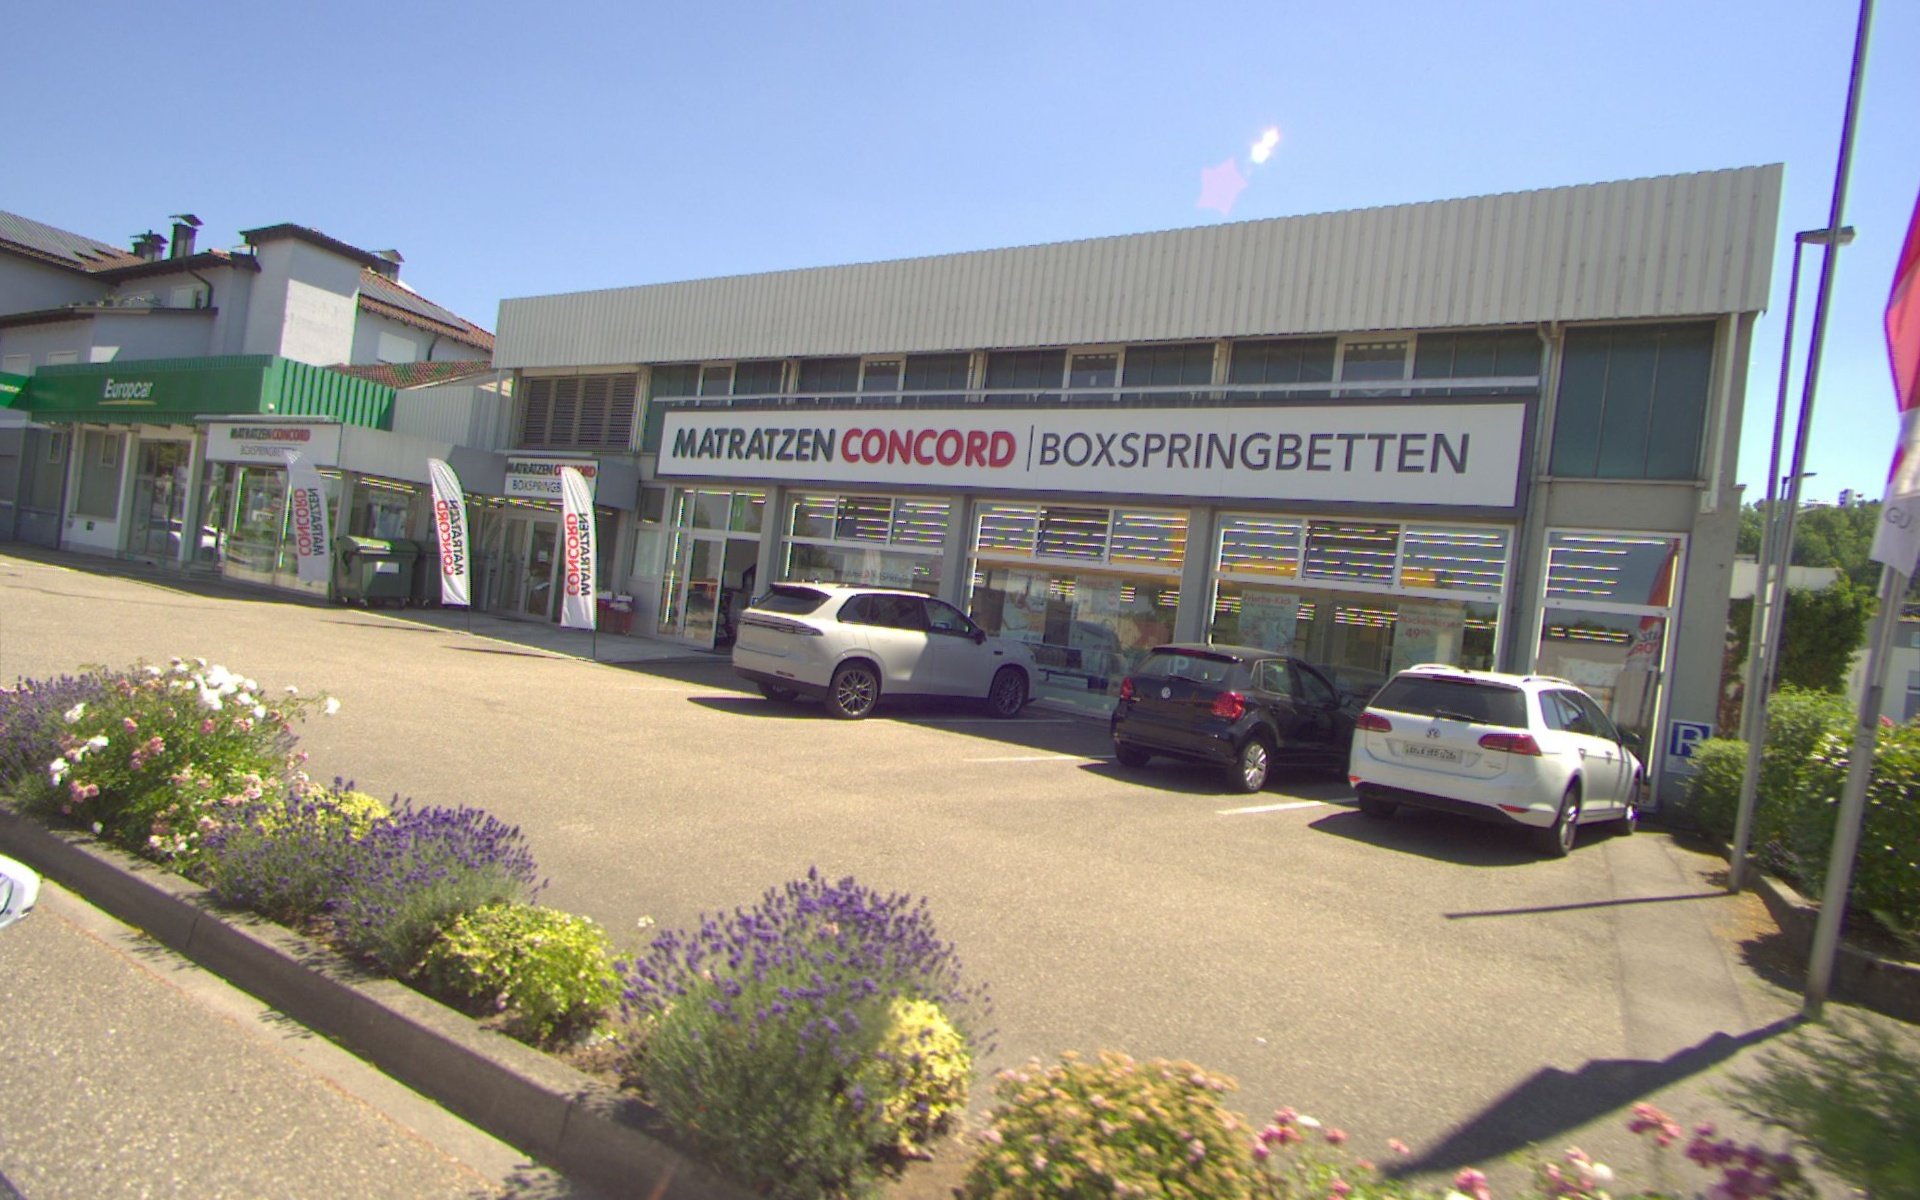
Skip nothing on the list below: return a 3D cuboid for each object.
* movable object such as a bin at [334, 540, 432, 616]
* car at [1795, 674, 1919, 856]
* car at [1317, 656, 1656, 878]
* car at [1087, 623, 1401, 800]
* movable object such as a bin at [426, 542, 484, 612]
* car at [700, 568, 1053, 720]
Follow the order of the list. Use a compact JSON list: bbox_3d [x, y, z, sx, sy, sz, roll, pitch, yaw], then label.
[{"bbox_3d":[-11.974,-0.444,20.926,0.691,1.442,1.562,8,3,35],"label":"movable object such as a bin"},{"bbox_3d":[12.218,2.042,11.107,4.184,1.914,1.708,6,0,29],"label":"car"},{"bbox_3d":[5.195,1.459,9.661,1.781,1.478,3.978,6,0,43],"label":"car"},{"bbox_3d":[3.370,1.236,11.544,3.842,1.552,1.657,6,0,-44],"label":"car"},{"bbox_3d":[-11.116,-0.501,22.159,0.691,1.464,0.852,7,3,35],"label":"movable object such as a bin"},{"bbox_3d":[-1.022,0.678,14.026,4.566,1.662,1.976,7,0,-43],"label":"car"}]
